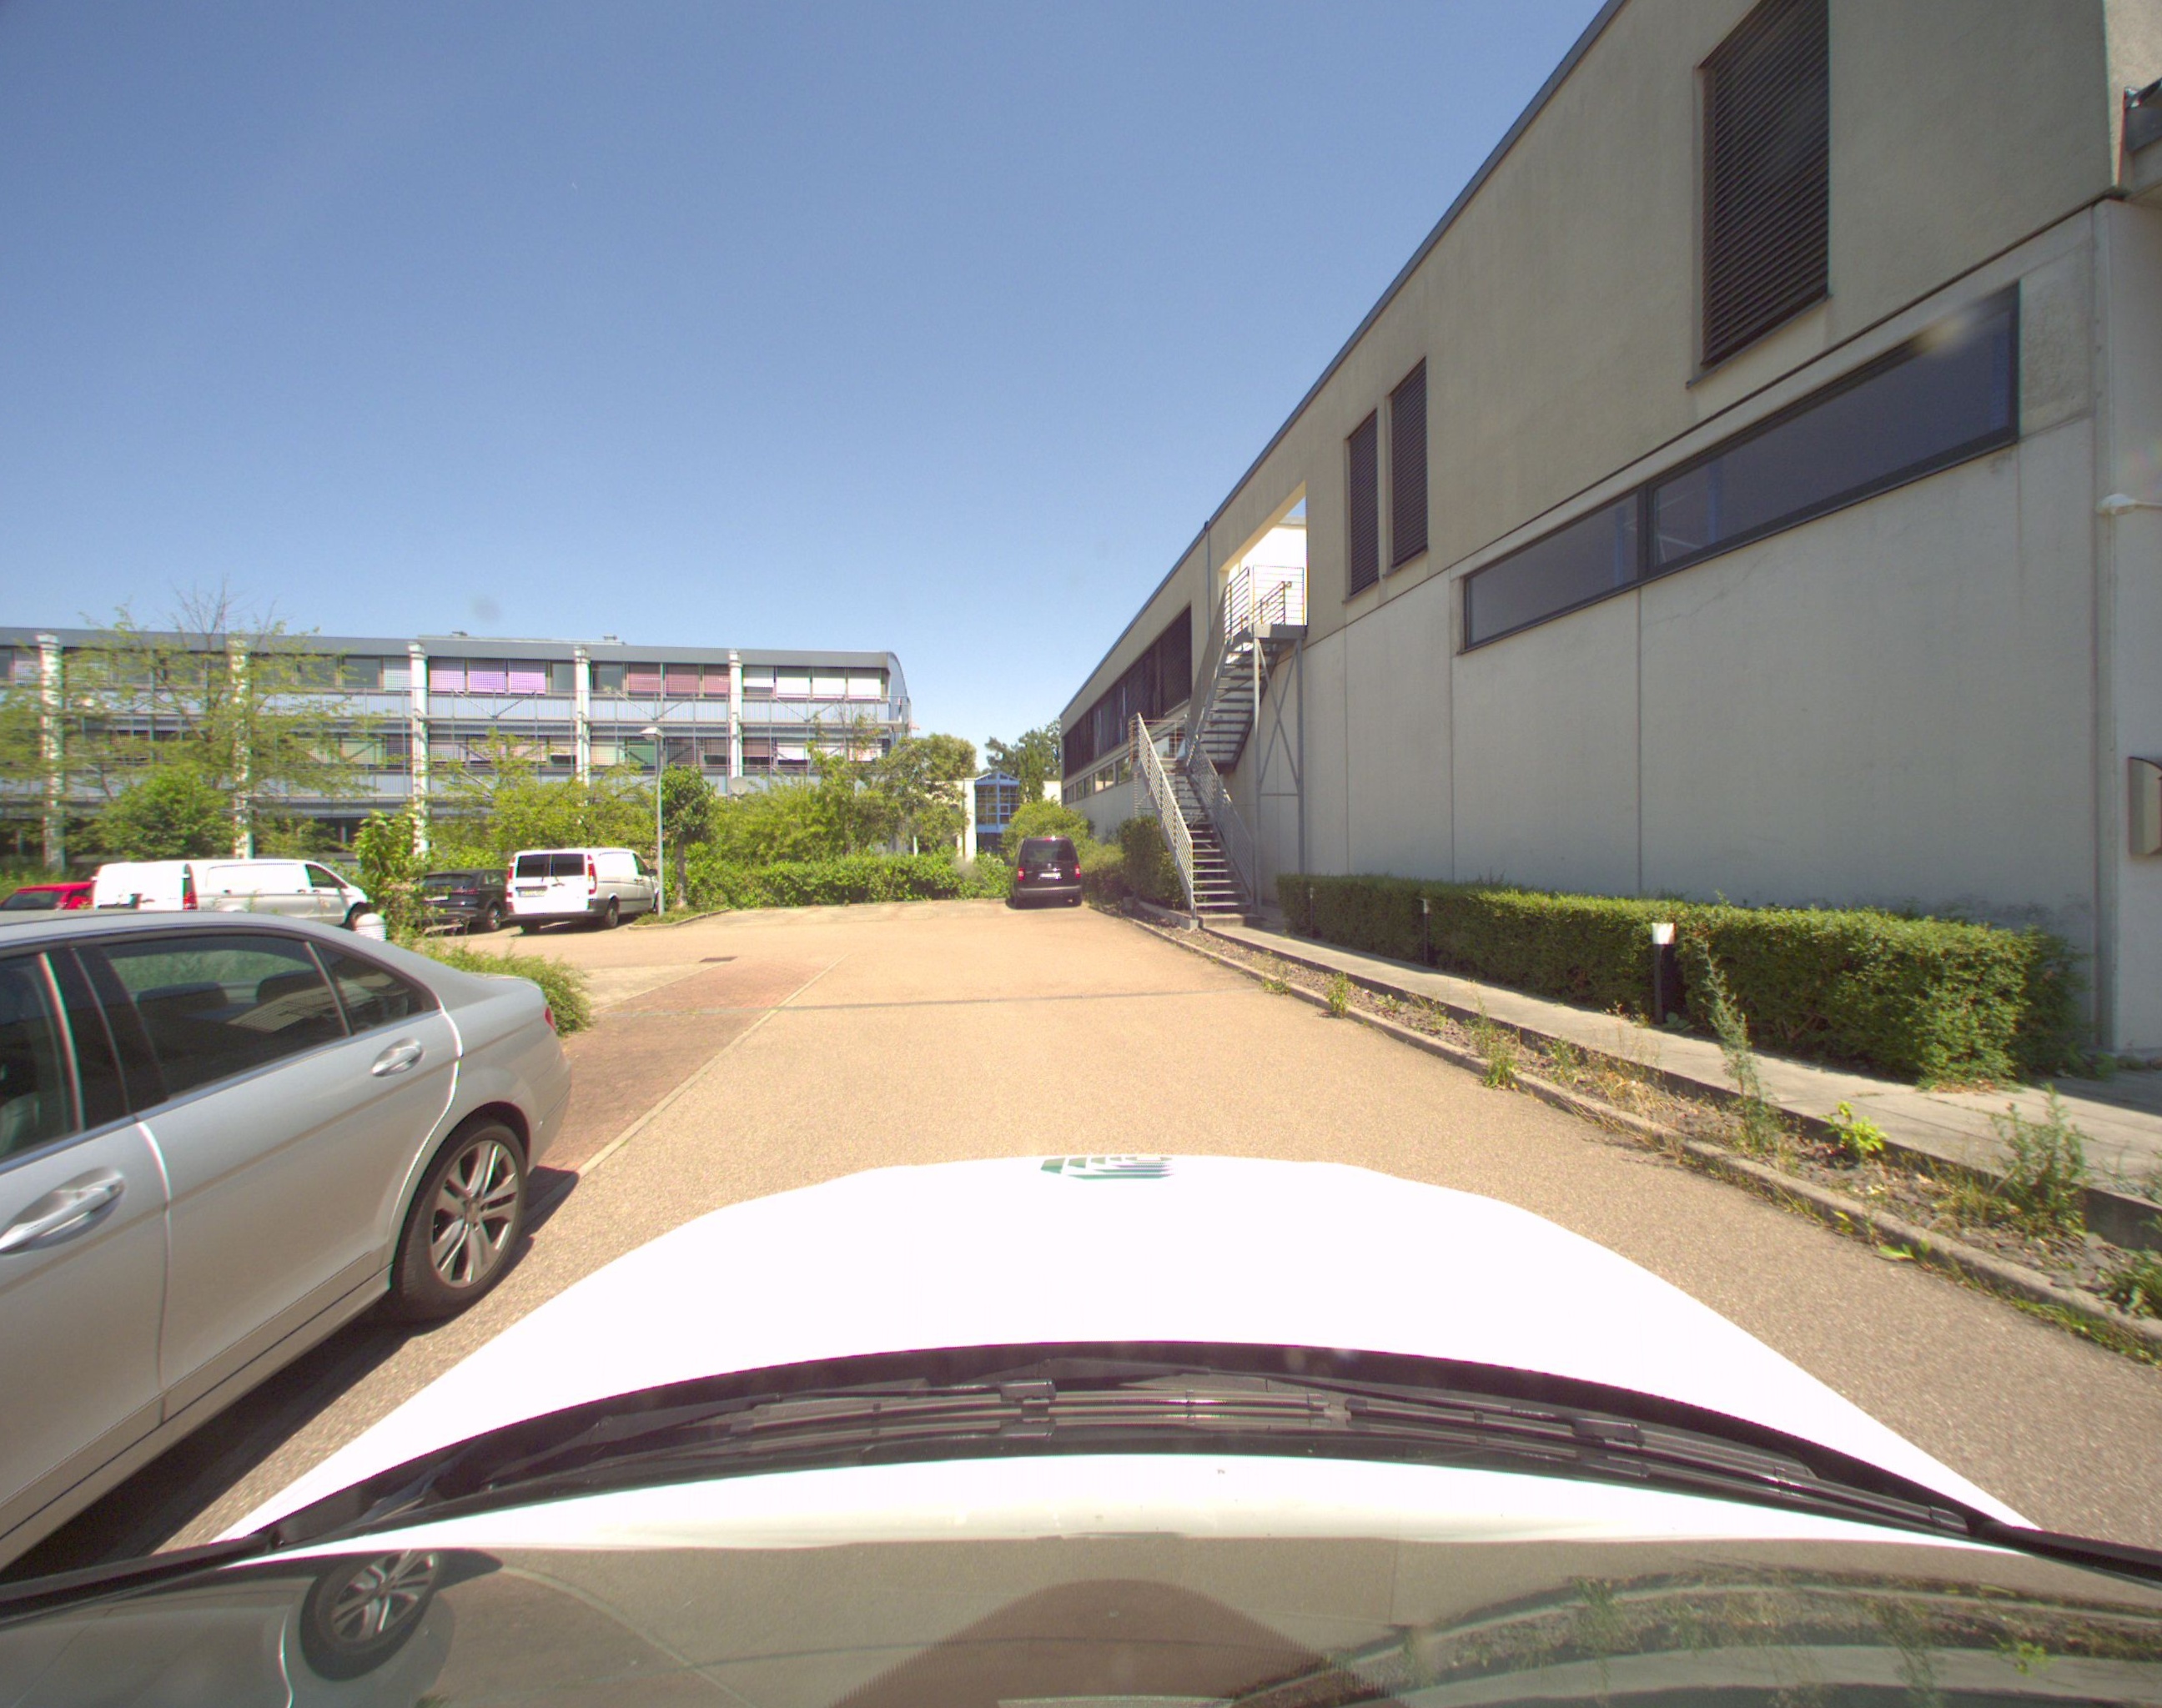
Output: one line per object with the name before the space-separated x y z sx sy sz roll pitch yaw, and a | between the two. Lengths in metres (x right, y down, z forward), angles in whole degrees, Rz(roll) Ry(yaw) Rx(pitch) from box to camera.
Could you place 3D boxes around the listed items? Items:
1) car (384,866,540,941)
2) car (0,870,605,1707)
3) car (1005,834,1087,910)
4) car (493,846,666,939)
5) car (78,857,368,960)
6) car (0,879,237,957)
car | -14.876 1.104 19.840 1.759 1.476 3.975 -2 1 -18
car | -2.804 0.824 1.495 1.727 1.457 4.139 -2 0 -6
car | -1.063 0.444 22.375 1.743 1.837 3.987 -2 1 -9
car | -12.004 0.790 19.947 1.913 1.905 4.791 -2 1 -10
car | -19.122 1.081 18.569 1.880 1.891 4.791 -2 1 -8
car | -22.553 1.408 19.012 1.780 1.441 3.991 -2 1 -7
